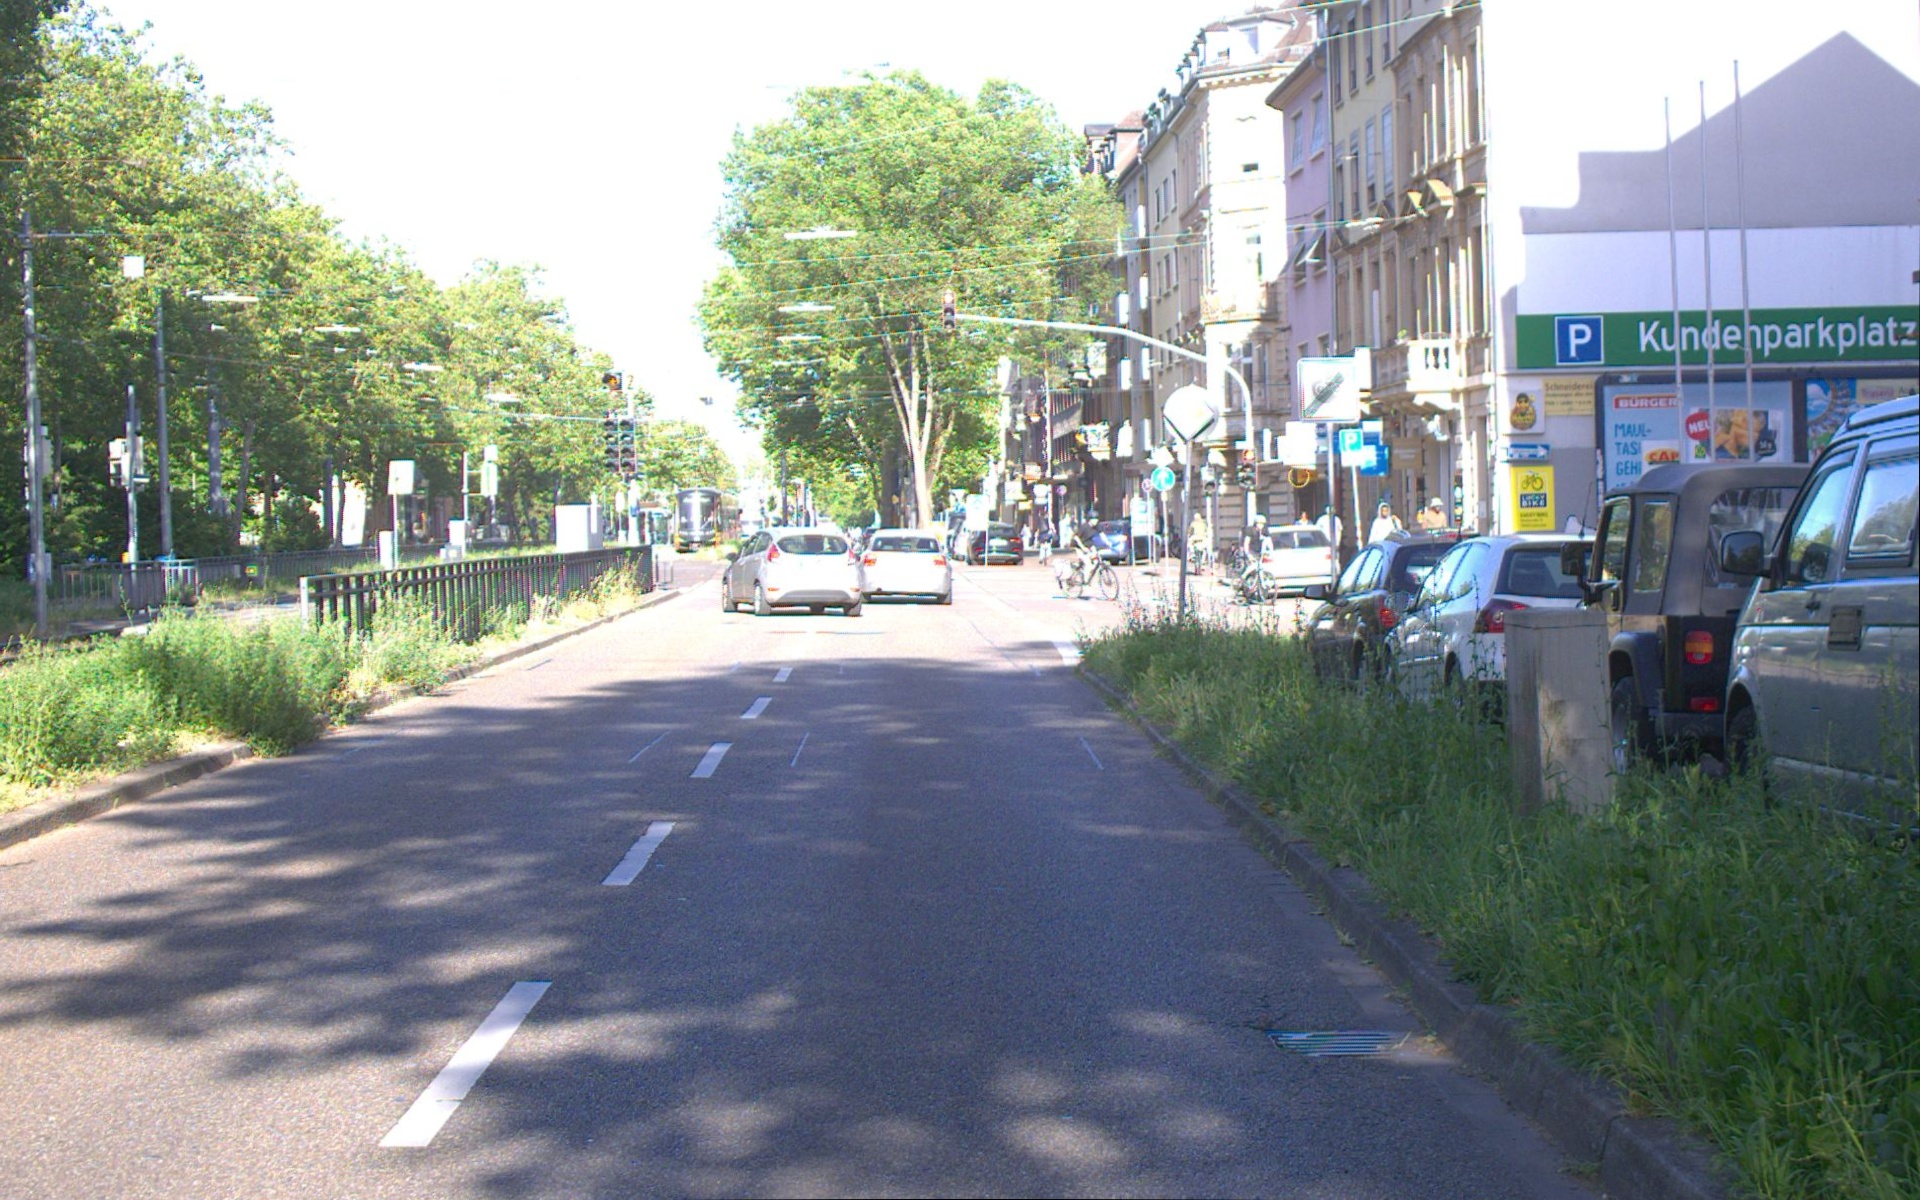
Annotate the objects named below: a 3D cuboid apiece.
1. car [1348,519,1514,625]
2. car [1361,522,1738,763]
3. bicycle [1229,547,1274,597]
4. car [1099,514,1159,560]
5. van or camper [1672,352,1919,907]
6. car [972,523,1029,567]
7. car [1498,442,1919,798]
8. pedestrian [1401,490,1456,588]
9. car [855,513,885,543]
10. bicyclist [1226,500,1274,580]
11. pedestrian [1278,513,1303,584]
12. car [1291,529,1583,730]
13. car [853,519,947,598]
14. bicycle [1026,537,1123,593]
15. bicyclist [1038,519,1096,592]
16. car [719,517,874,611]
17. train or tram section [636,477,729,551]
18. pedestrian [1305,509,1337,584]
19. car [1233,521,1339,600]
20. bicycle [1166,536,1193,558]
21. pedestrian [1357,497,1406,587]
[{"bbox_3d":[7.309,-0.472,53.730,1.833,1.482,4.734,-4,1,0],"label":"car"},{"bbox_3d":[4.051,0.234,24.249,1.738,1.512,4.001,2,1,-3],"label":"car"},{"bbox_3d":[5.517,-0.539,65.191,0.649,0.917,1.918,-1,1,-1],"label":"bicycle"},{"bbox_3d":[5.743,-2.143,116.963,1.735,1.514,3.637,0,1,-2],"label":"car"},{"bbox_3d":[4.367,0.067,13.533,1.884,2.007,5.095,-1,1,-2],"label":"van or camper"},{"bbox_3d":[1.350,-1.878,116.631,1.735,1.428,3.678,0,1,-2],"label":"car"},{"bbox_3d":[4.290,0.051,19.219,1.864,1.758,4.000,-1,1,-1],"label":"car"},{"bbox_3d":[8.926,-1.158,65.445,0.760,1.835,0.748,-1,1,-18],"label":"pedestrian"},{"bbox_3d":[-6.142,-4.900,234.854,1.993,2.007,4.000,-1,1,-1],"label":"car"},{"bbox_3d":[5.486,-1.136,65.104,0.676,1.441,1.182,-5,1,-1],"label":"bicyclist"},{"bbox_3d":[7.954,-1.247,82.684,0.549,1.702,0.388,-1,1,2],"label":"pedestrian"},{"bbox_3d":[3.887,0.188,28.637,1.640,1.512,4.001,2,1,-3],"label":"car"},{"bbox_3d":[-1.156,-0.819,65.988,1.740,1.462,4.000,1,1,-1],"label":"car"},{"bbox_3d":[2.308,-0.696,69.177,0.757,1.098,1.952,-2,2,-44],"label":"bicycle"},{"bbox_3d":[2.150,-0.896,69.327,0.744,1.457,0.951,0,1,-33],"label":"bicyclist"},{"bbox_3d":[-2.717,-0.609,56.323,1.609,1.462,3.891,-1,1,-17],"label":"car"},{"bbox_3d":[-15.149,-4.716,188.966,3.969,3.852,17.490,-1,1,-1],"label":"train or tram section"},{"bbox_3d":[8.668,-1.290,82.631,0.673,1.800,0.531,-1,1,-1],"label":"pedestrian"},{"bbox_3d":[6.496,-0.813,68.832,1.562,1.411,4.004,-4,1,-1],"label":"car"},{"bbox_3d":[7.843,-1.887,122.922,0.754,0.768,1.946,-1,1,-2],"label":"bicycle"},{"bbox_3d":[8.259,-1.134,67.341,0.760,1.749,0.513,-2,1,-21],"label":"pedestrian"}]
